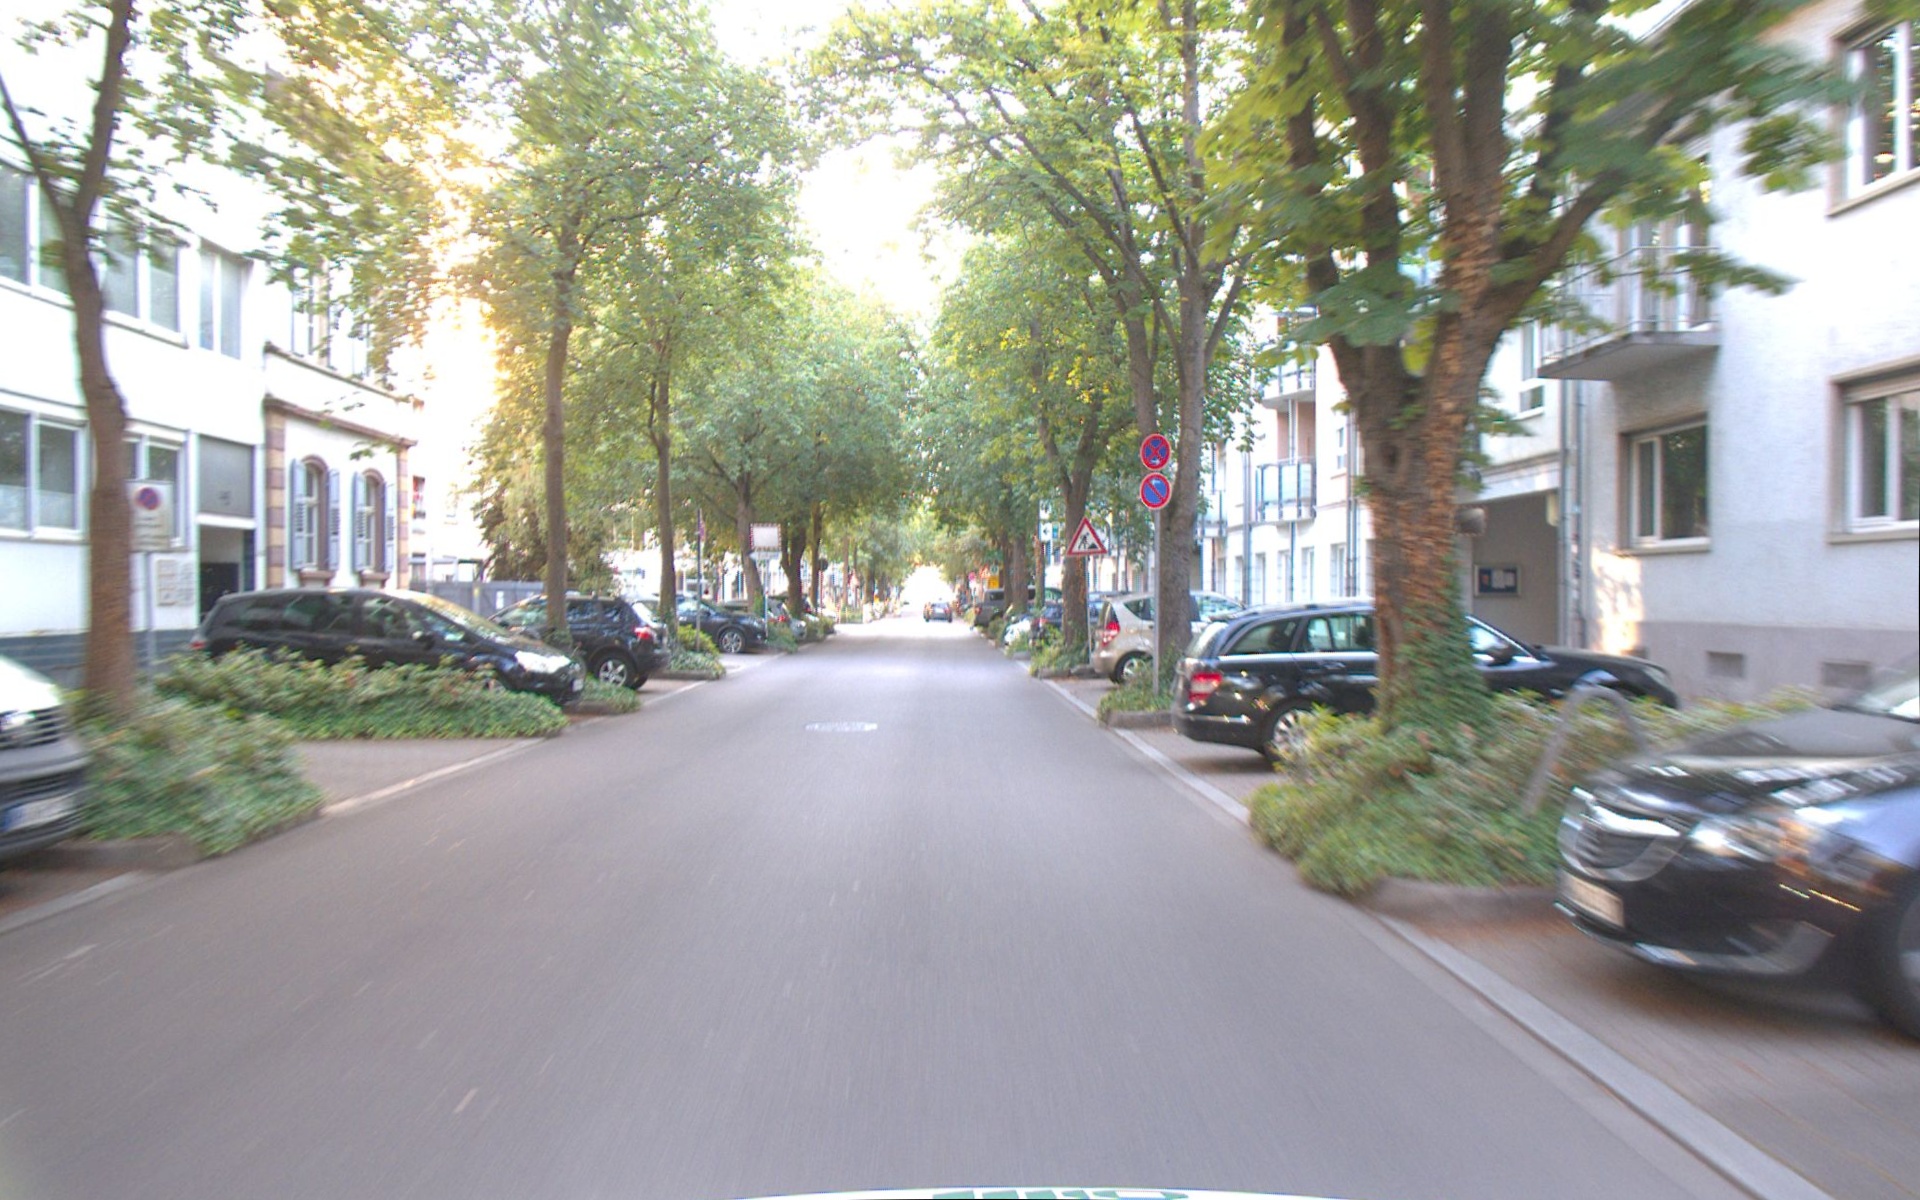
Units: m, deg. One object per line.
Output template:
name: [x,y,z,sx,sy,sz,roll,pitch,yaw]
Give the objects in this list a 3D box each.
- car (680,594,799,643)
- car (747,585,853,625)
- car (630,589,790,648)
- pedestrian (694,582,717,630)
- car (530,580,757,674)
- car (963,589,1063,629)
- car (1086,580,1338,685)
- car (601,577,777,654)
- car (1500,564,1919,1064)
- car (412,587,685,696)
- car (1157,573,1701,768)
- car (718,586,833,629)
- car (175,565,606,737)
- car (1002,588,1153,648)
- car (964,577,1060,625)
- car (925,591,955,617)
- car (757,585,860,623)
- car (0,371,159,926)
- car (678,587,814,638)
car: [-7.646,0.631,57.583,3.906,1.536,1.800,-2,0,-1]
car: [-7.298,0.233,75.745,4.666,1.658,1.962,-2,0,-1]
car: [-7.738,0.571,51.603,4.666,1.658,1.962,-2,0,-1]
pedestrian: [-10.790,0.251,70.037,0.839,2.049,0.875,0,0,-1]
car: [-6.790,0.567,35.848,4.502,1.839,1.962,-2,0,-1]
car: [2.274,0.383,71.510,4.182,1.593,1.962,-2,0,-1]
car: [4.239,0.536,28.236,3.968,1.625,1.824,-2,0,-1]
car: [-7.695,0.431,47.282,4.666,2.019,1.962,-2,0,-1]
car: [4.661,0.610,6.221,4.587,1.548,1.962,-2,0,-1]
car: [-6.914,0.675,28.152,4.118,1.664,1.962,-2,0,-1]
car: [4.109,0.600,15.121,4.414,1.548,1.996,-2,0,2]
car: [-7.866,0.314,70.689,4.666,1.658,1.962,-2,0,-1]
car: [-6.898,0.594,20.428,4.587,1.886,1.962,-2,0,-1]
car: [3.387,0.515,48.238,4.182,1.593,1.962,-2,0,-1]
car: [2.296,0.025,74.026,4.182,1.996,1.962,-2,0,-1]
car: [-1.352,0.249,110.467,1.917,1.593,4.281,-2,0,-1]
car: [-7.167,0.198,78.626,4.666,1.658,1.962,-2,0,-1]
car: [-6.656,0.205,7.966,4.587,2.521,2.000,0,0,-1]
car: [-7.717,0.445,60.059,4.666,1.658,1.962,-2,0,-1]
